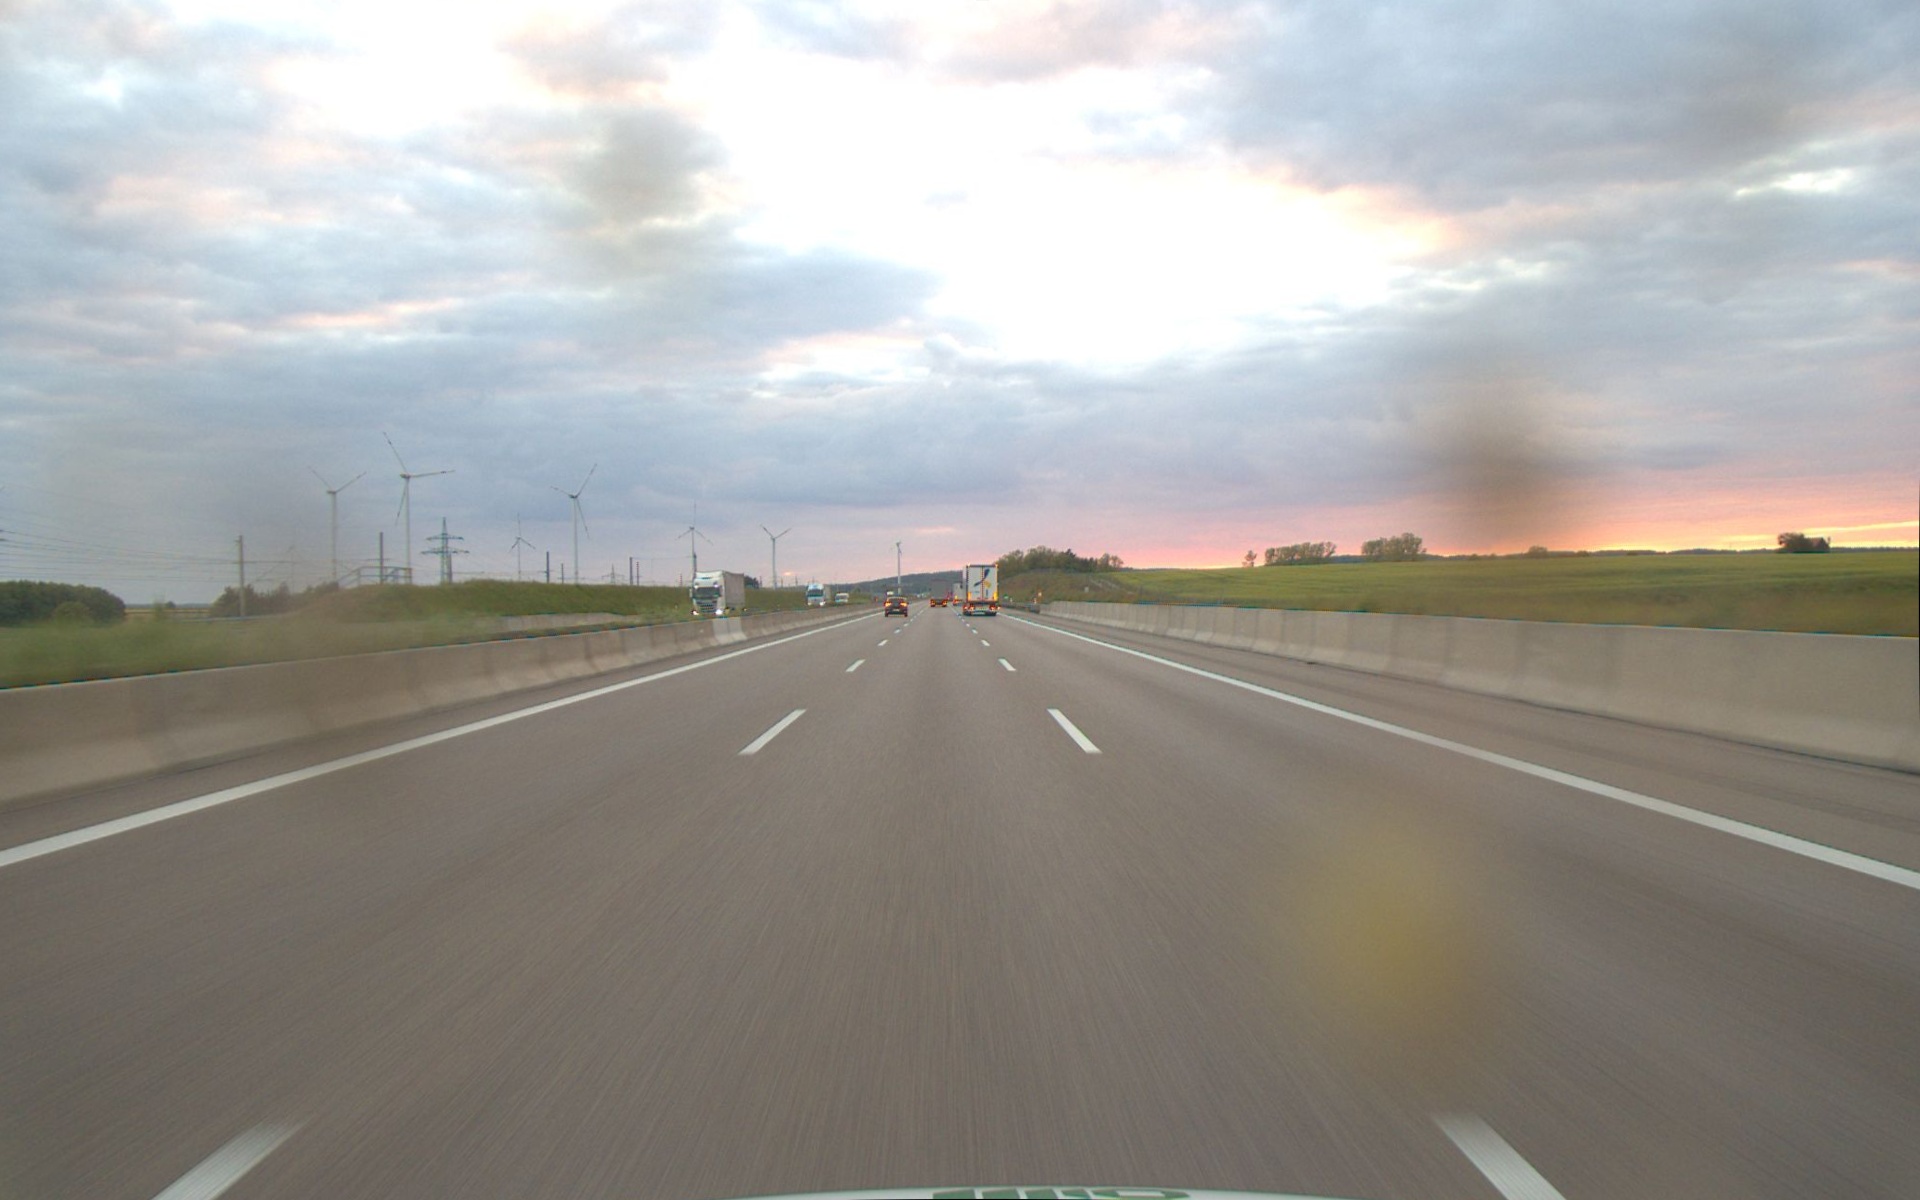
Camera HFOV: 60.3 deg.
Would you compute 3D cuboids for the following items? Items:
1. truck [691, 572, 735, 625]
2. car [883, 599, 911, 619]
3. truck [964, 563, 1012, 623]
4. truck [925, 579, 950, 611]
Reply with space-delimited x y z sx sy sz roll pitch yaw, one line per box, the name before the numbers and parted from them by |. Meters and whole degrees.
truck | -21.029 -0.153 141.179 2.760 4.428 6.738 0 0 -1
car | -4.809 0.686 126.364 1.947 1.454 4.000 -1 0 0
truck | 2.249 -0.560 136.165 3.600 4.644 10.979 -1 0 -1
truck | -3.422 -0.732 247.075 3.573 4.491 8.633 -2 0 -1
